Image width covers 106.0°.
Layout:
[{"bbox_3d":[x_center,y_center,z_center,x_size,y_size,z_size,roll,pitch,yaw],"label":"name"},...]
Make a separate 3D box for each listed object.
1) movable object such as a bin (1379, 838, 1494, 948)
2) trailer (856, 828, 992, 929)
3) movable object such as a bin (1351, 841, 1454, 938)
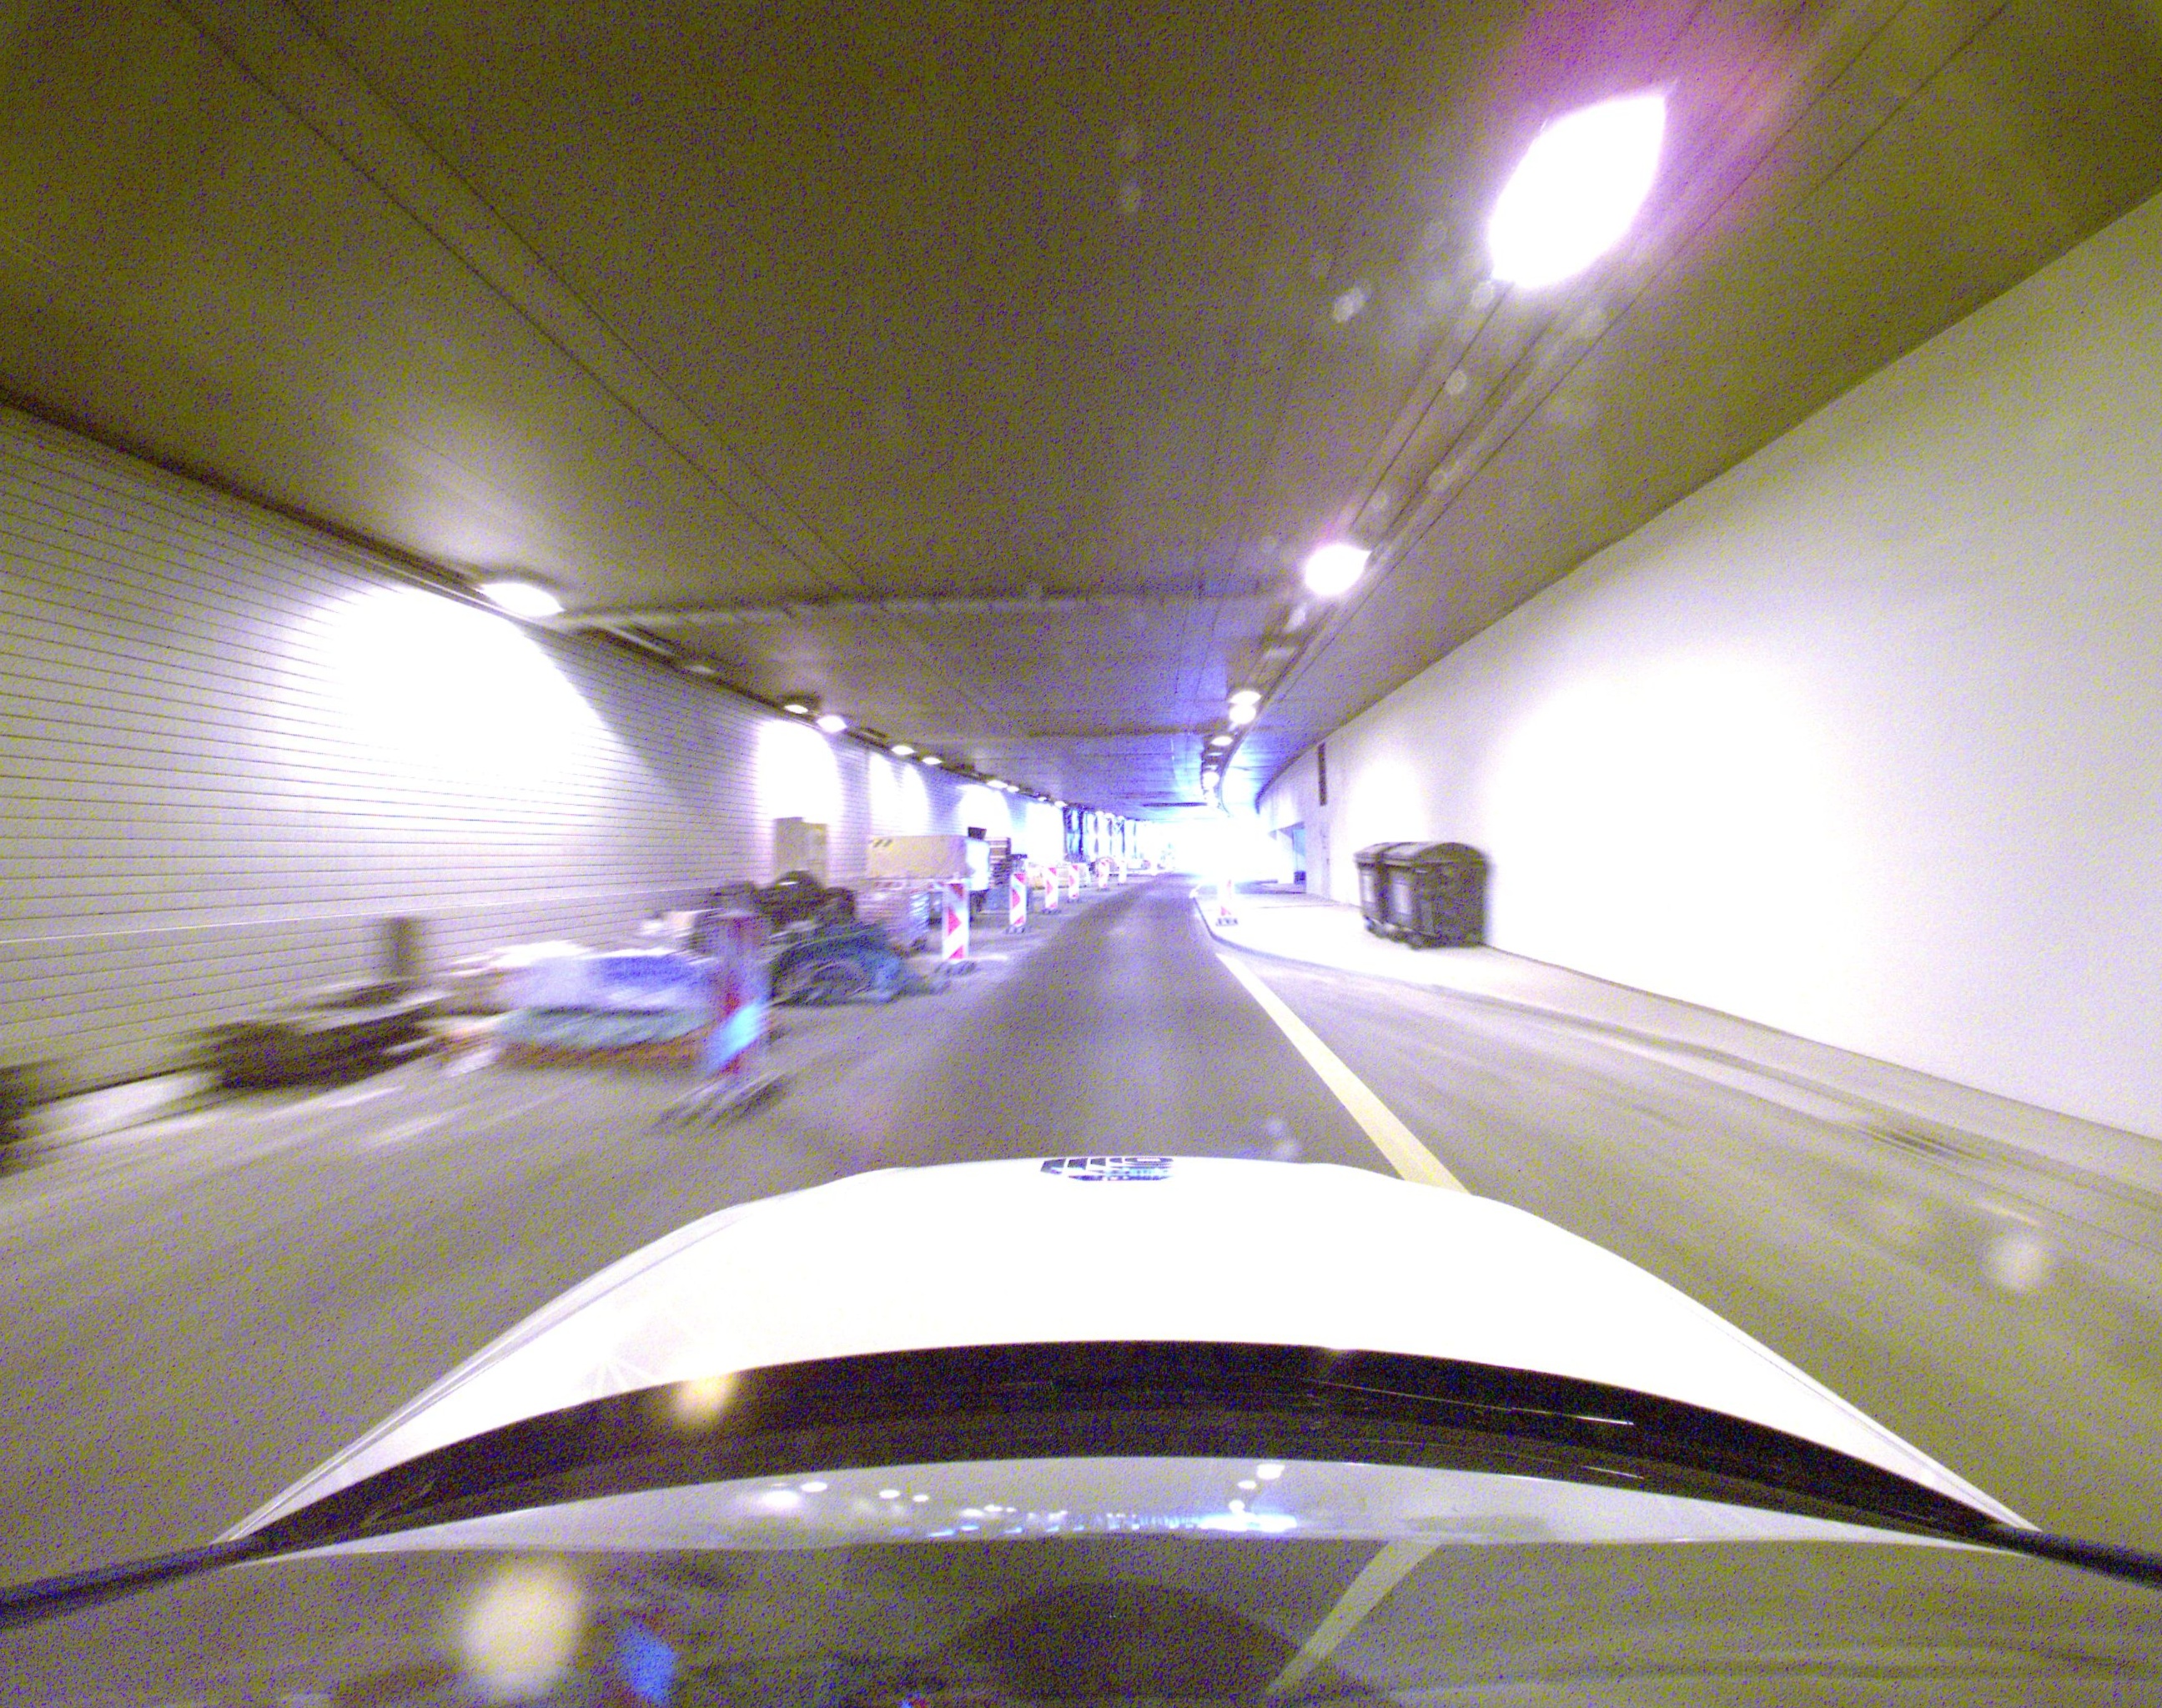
[{"bbox_3d":[4.968,0.527,11.491,1.093,1.445,1.323,-1,-1,4],"label":"movable object such as a bin"},{"bbox_3d":[-3.399,0.513,18.312,2.199,2.014,3.469,-1,-1,3],"label":"trailer"},{"bbox_3d":[5.032,0.539,12.871,1.140,1.445,1.365,-1,-1,4],"label":"movable object such as a bin"}]
